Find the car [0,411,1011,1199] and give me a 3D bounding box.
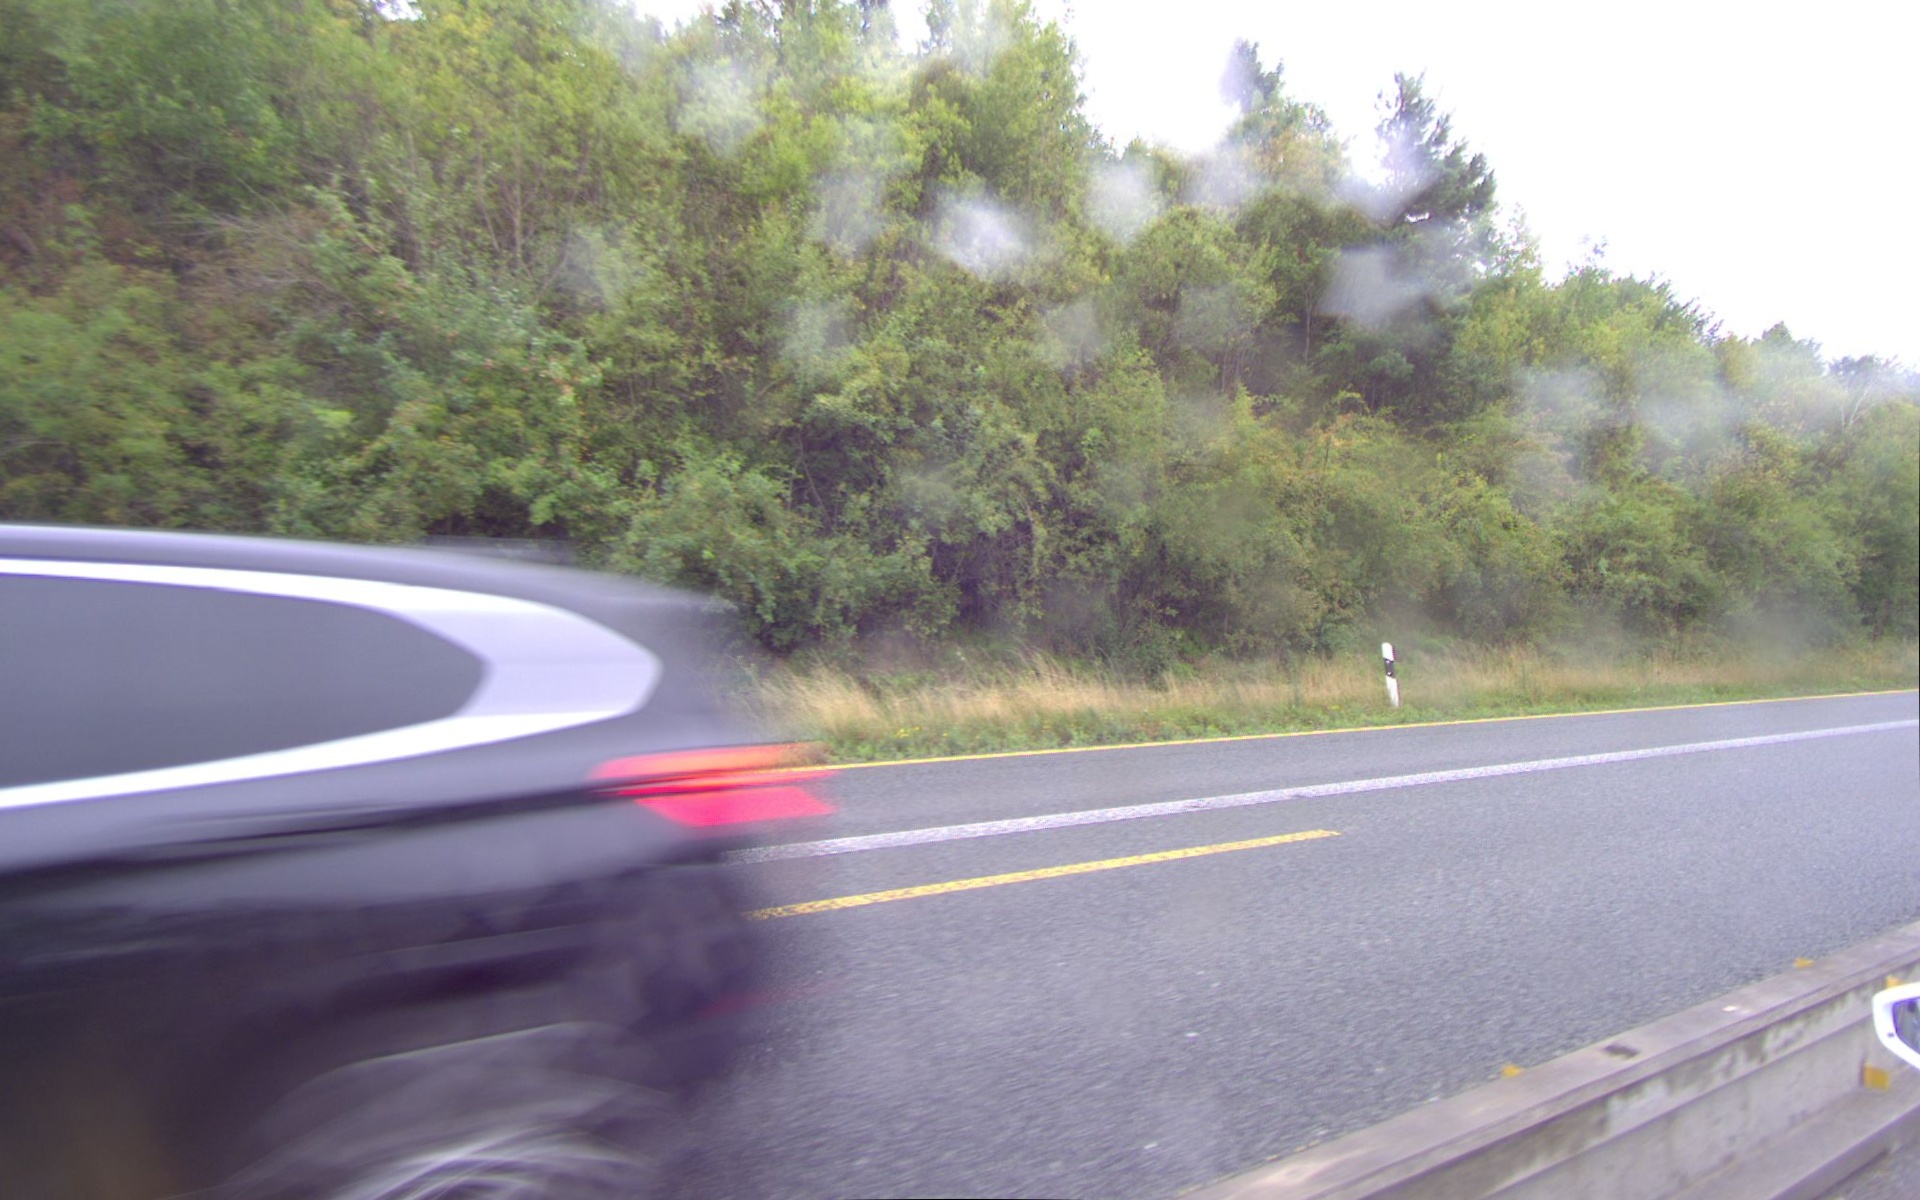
[{"bbox_3d":[-2.094,0.528,2.230,4.067,1.655,1.802,2,0,-29],"label":"car"}]
